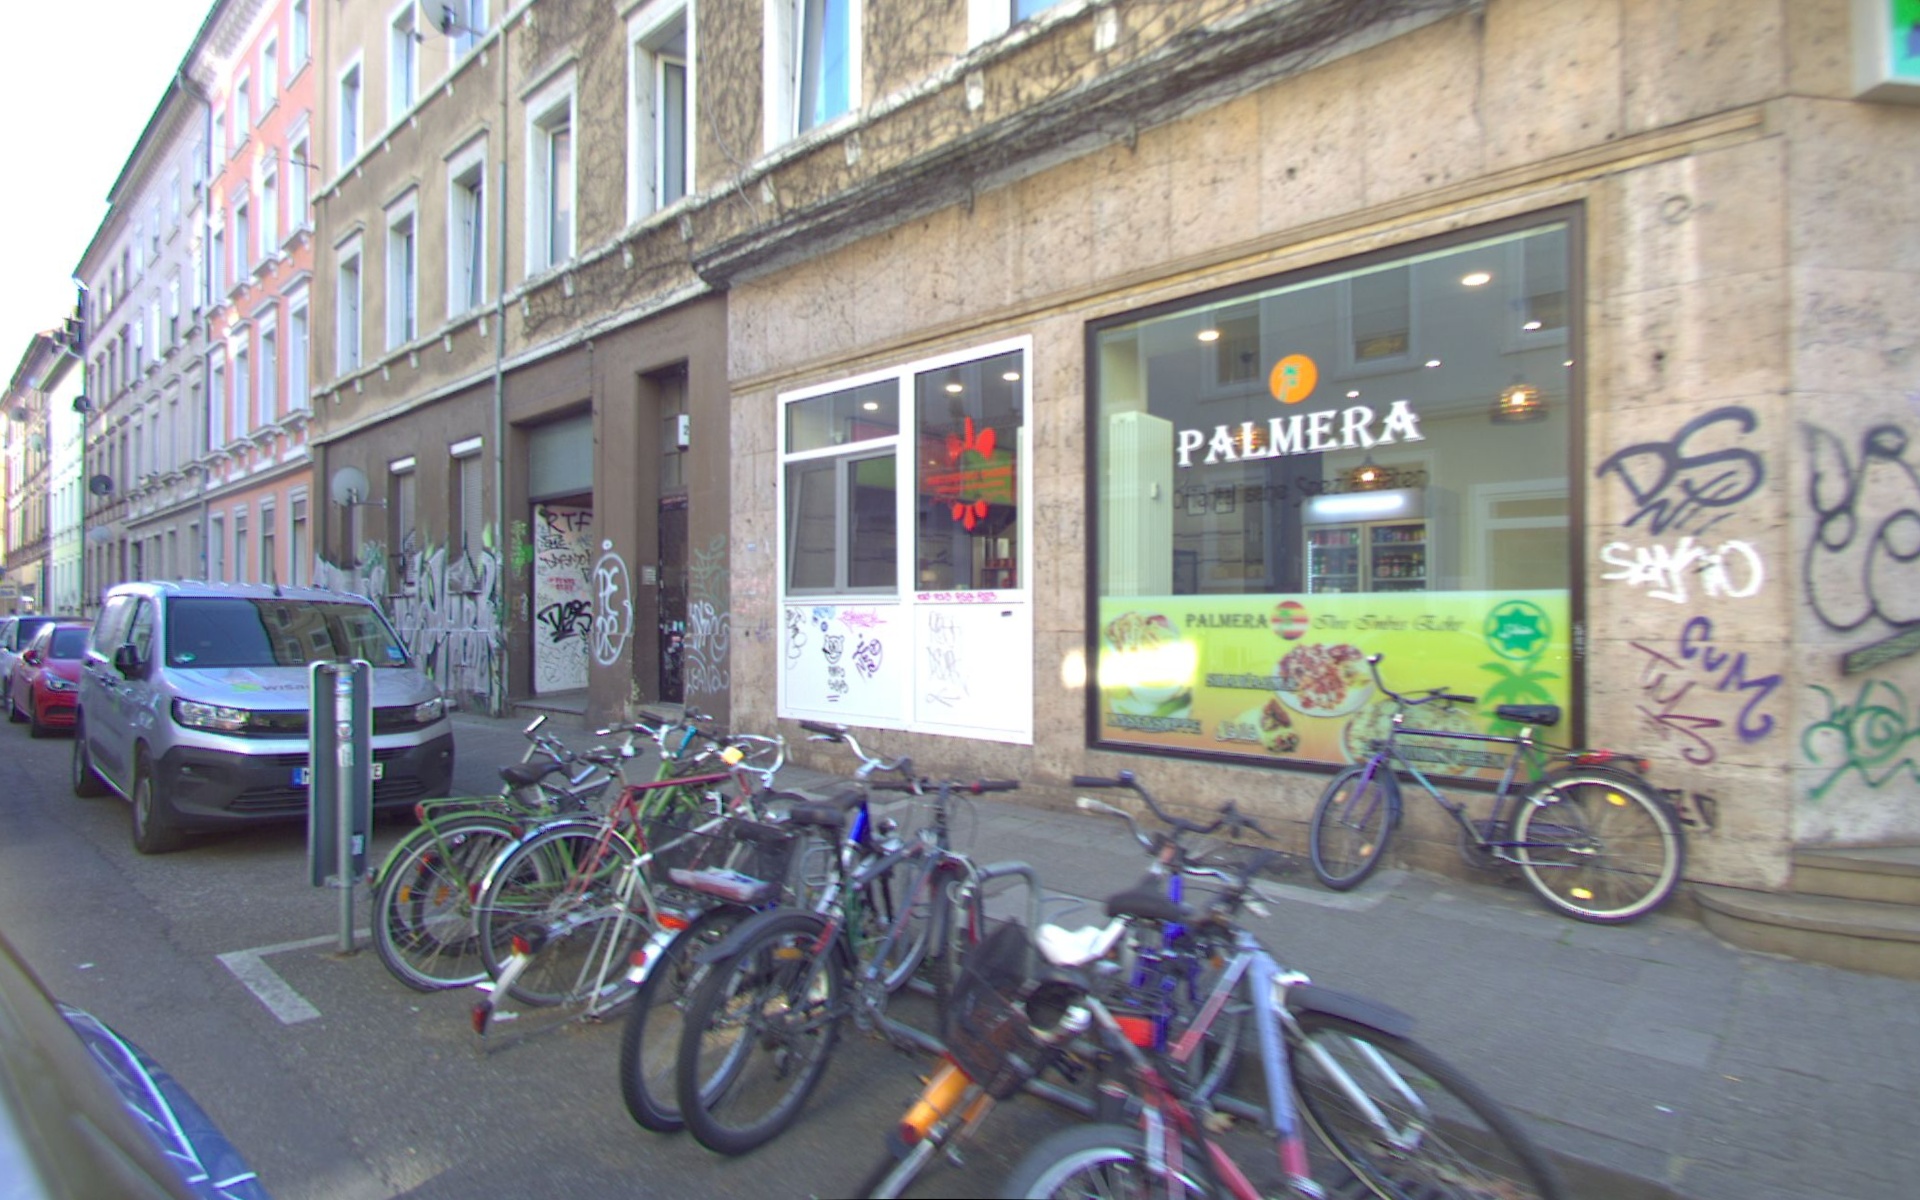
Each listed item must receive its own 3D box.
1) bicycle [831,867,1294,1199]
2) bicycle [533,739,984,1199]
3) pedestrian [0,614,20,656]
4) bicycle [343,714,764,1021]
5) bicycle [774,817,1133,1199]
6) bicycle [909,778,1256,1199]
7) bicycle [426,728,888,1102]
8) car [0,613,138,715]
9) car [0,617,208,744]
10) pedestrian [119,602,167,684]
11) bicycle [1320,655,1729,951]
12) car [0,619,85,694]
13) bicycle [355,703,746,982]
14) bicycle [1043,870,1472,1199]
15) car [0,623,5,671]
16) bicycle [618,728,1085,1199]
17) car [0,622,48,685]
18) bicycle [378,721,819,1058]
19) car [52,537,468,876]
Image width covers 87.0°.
[{"bbox_3d":[0.302,1.095,1.983,0.354,0.824,1.298,-1,-2,32],"label":"bicycle"},{"bbox_3d":[-0.550,1.064,3.464,0.479,0.969,1.752,-1,-2,30],"label":"bicycle"},{"bbox_3d":[-42.706,1.554,45.472,0.594,1.844,0.618,-2,0,43],"label":"pedestrian"},{"bbox_3d":[-1.699,1.067,4.502,0.405,0.969,1.746,-2,-2,41],"label":"bicycle"},{"bbox_3d":[0.064,1.139,2.885,0.380,0.824,1.298,-1,-4,32],"label":"bicycle"},{"bbox_3d":[0.411,0.974,2.708,0.360,0.824,1.375,-1,-4,32],"label":"bicycle"},{"bbox_3d":[-1.057,1.068,3.916,0.443,0.969,1.746,-2,-2,41],"label":"bicycle"},{"bbox_3d":[-15.281,1.030,17.017,2.956,1.561,1.662,-1,-3,39],"label":"car"},{"bbox_3d":[-11.924,1.017,13.920,4.201,1.485,1.661,-1,-4,41],"label":"car"},{"bbox_3d":[-18.948,0.978,23.472,0.594,1.844,0.780,-2,0,43],"label":"pedestrian"},{"bbox_3d":[2.515,0.832,4.653,1.591,1.100,0.393,-1,-1,43],"label":"bicycle"},{"bbox_3d":[-20.315,1.178,21.835,3.609,1.504,1.662,-2,-2,41],"label":"car"},{"bbox_3d":[-1.900,1.069,4.935,0.463,0.996,1.746,-2,-2,41],"label":"bicycle"},{"bbox_3d":[0.615,1.048,1.774,0.370,0.824,1.298,-1,-2,32],"label":"bicycle"},{"bbox_3d":[-31.423,1.475,31.898,3.860,1.474,1.661,-1,-2,43],"label":"car"},{"bbox_3d":[-0.207,0.980,3.195,0.427,0.969,1.749,-1,-2,35],"label":"bicycle"},{"bbox_3d":[-23.899,1.284,25.006,4.313,1.474,1.661,-1,-2,43],"label":"car"},{"bbox_3d":[-1.390,1.069,4.211,0.422,0.969,1.746,-2,-2,41],"label":"bicycle"},{"bbox_3d":[-5.667,0.691,7.929,4.519,1.925,1.661,-1,-5,43],"label":"car"}]
